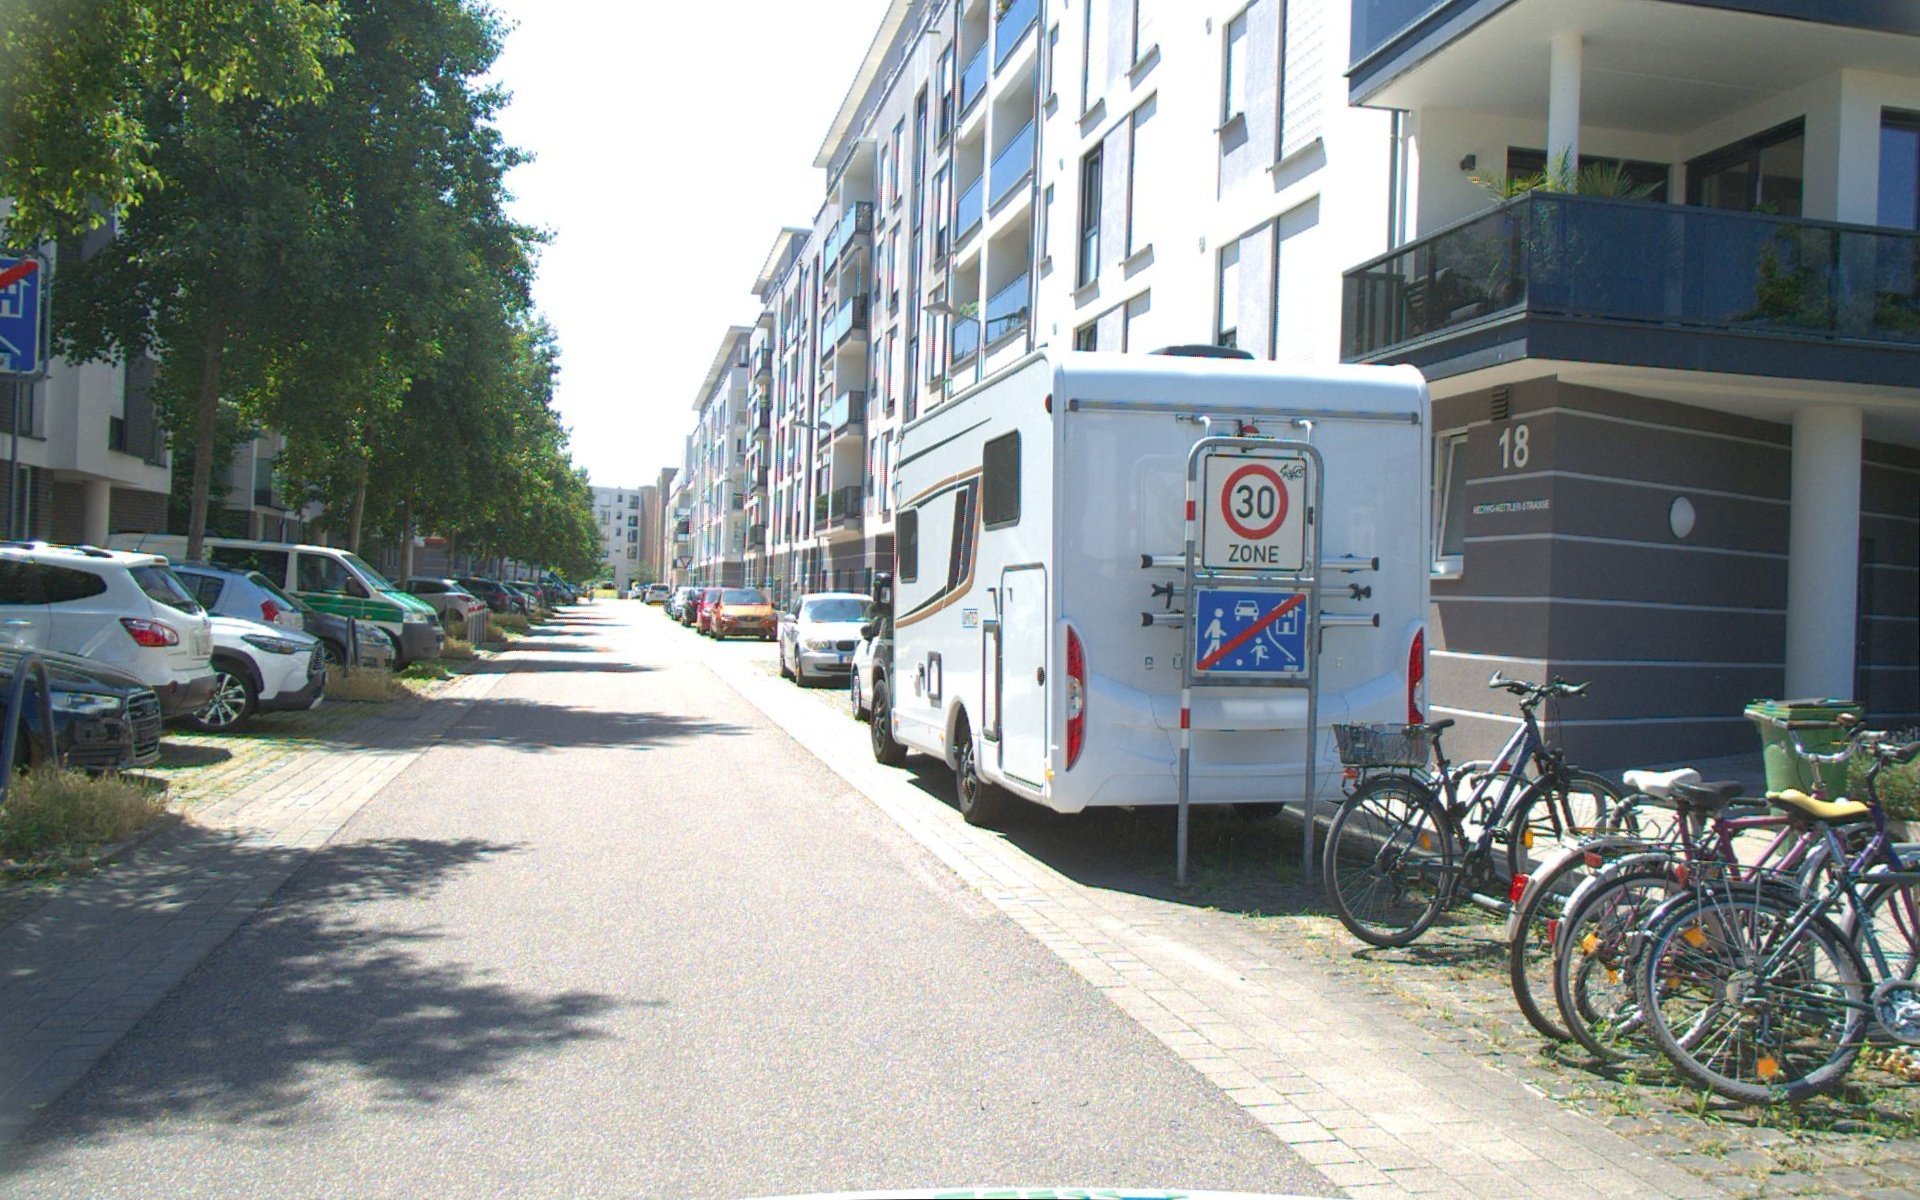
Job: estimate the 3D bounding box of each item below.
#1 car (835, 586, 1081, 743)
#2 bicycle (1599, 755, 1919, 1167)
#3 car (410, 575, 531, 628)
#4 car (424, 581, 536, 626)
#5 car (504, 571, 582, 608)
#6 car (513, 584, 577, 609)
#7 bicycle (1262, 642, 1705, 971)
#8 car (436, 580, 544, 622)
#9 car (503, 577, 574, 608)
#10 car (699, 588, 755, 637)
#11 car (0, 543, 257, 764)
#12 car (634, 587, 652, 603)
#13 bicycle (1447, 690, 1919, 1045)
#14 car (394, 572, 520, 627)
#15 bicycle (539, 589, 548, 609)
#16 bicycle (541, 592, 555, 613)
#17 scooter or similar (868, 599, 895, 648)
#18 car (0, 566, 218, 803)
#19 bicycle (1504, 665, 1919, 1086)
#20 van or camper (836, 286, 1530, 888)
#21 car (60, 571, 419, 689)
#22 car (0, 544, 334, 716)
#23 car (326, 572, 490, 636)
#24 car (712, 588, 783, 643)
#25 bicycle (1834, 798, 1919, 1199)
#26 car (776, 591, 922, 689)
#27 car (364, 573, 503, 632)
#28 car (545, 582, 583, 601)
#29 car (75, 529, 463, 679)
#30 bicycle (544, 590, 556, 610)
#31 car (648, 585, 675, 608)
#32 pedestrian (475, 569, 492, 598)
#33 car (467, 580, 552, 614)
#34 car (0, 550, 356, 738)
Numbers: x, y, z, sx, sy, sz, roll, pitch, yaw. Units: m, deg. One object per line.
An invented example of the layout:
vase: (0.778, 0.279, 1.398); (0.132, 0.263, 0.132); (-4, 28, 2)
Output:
car: (-0.158, 0.617, 18.411); (1.776, 1.531, 4.245); (0, 0, -14)
bicycle: (2.959, 1.004, 4.838); (1.815, 0.992, 0.945); (1, 0, 0)
car: (-17.625, 0.050, 59.738); (3.915, 1.679, 1.913); (3, 0, -11)
car: (-18.064, 0.140, 62.342); (3.910, 1.470, 1.768); (3, -1, -16)
car: (-33.157, -0.817, 131.653); (5.918, 2.865, 2.597); (1, 0, -13)
car: (-29.974, -0.261, 119.475); (4.307, 1.541, 2.069); (4, 0, -12)
bicycle: (2.365, 0.847, 7.437); (1.894, 1.244, 0.819); (0, 1, -29)
car: (-19.597, 0.031, 69.166); (4.288, 1.740, 1.992); (0, 0, -15)
car: (-32.173, -0.577, 126.325); (5.055, 2.156, 2.304); (3, 0, -13)
car: (-7.539, 0.363, 53.251); (1.567, 1.511, 3.665); (0, 1, -12)
car: (-8.178, 0.355, 13.681); (3.908, 1.657, 1.945); (3, -1, -10)
car: (-37.466, -0.599, 195.281); (1.959, 1.704, 3.987); (2, 0, -13)
bicycle: (2.688, 0.908, 5.810); (1.849, 1.130, 0.474); (1, 0, -11)
car: (-17.344, -0.005, 57.221); (3.917, 1.658, 1.927); (3, 0, -13)
bicycle: (-27.631, -0.066, 109.666); (0.426, 1.225, 1.695); (3, 1, -11)
bicycle: (-22.876, 0.138, 91.810); (0.428, 1.147, 1.964); (1, 0, -24)
scooter or similar: (-2.070, 0.612, 43.915); (0.534, 1.247, 1.530); (2, 0, 3)
car: (-7.866, 0.441, 11.252); (4.765, 1.482, 1.824); (4, -1, -12)
bicycle: (2.771, 0.860, 5.443); (1.817, 1.244, 0.554); (1, 0, -11)
van or camper: (0.919, -0.010, 12.226); (2.397, 2.957, 7.800); (3, -1, -13)
car: (-10.048, 0.418, 23.445); (4.346, 1.516, 1.993); (1, 0, -14)
car: (-9.231, 0.324, 18.829); (3.616, 1.705, 1.846); (3, 0, -13)
car: (-15.772, 0.115, 47.442); (4.179, 1.544, 1.918); (4, -1, -13)
car: (-6.204, 0.429, 47.895); (1.707, 1.513, 4.246); (0, 0, -12)
bicycle: (3.133, 1.000, 3.898); (2.000, 1.021, 0.868); (1, 0, -25)
car: (-1.912, 0.608, 27.227); (1.813, 1.441, 4.414); (2, 0, -11)
car: (-16.624, 0.071, 52.366); (3.917, 1.619, 1.878); (3, 0, -12)
car: (-45.228, -0.962, 189.063); (3.910, 2.049, 1.998); (2, 0, -6)
car: (-10.759, 0.078, 26.188); (5.246, 2.147, 2.182); (1, 0, -11)
bicycle: (-27.214, -0.022, 109.752); (0.561, 1.194, 1.759); (5, 0, -19)
car: (-23.151, -0.265, 128.338); (1.962, 1.686, 4.103); (1, 0, -11)
pedestrian: (-33.760, -1.147, 117.085); (0.990, 2.049, 1.127); (1, 0, -9)
car: (-22.928, -0.153, 84.233); (4.112, 1.512, 1.950); (3, -2, -16)
car: (-8.452, 0.385, 16.308); (4.486, 1.622, 1.957); (4, -1, -18)
